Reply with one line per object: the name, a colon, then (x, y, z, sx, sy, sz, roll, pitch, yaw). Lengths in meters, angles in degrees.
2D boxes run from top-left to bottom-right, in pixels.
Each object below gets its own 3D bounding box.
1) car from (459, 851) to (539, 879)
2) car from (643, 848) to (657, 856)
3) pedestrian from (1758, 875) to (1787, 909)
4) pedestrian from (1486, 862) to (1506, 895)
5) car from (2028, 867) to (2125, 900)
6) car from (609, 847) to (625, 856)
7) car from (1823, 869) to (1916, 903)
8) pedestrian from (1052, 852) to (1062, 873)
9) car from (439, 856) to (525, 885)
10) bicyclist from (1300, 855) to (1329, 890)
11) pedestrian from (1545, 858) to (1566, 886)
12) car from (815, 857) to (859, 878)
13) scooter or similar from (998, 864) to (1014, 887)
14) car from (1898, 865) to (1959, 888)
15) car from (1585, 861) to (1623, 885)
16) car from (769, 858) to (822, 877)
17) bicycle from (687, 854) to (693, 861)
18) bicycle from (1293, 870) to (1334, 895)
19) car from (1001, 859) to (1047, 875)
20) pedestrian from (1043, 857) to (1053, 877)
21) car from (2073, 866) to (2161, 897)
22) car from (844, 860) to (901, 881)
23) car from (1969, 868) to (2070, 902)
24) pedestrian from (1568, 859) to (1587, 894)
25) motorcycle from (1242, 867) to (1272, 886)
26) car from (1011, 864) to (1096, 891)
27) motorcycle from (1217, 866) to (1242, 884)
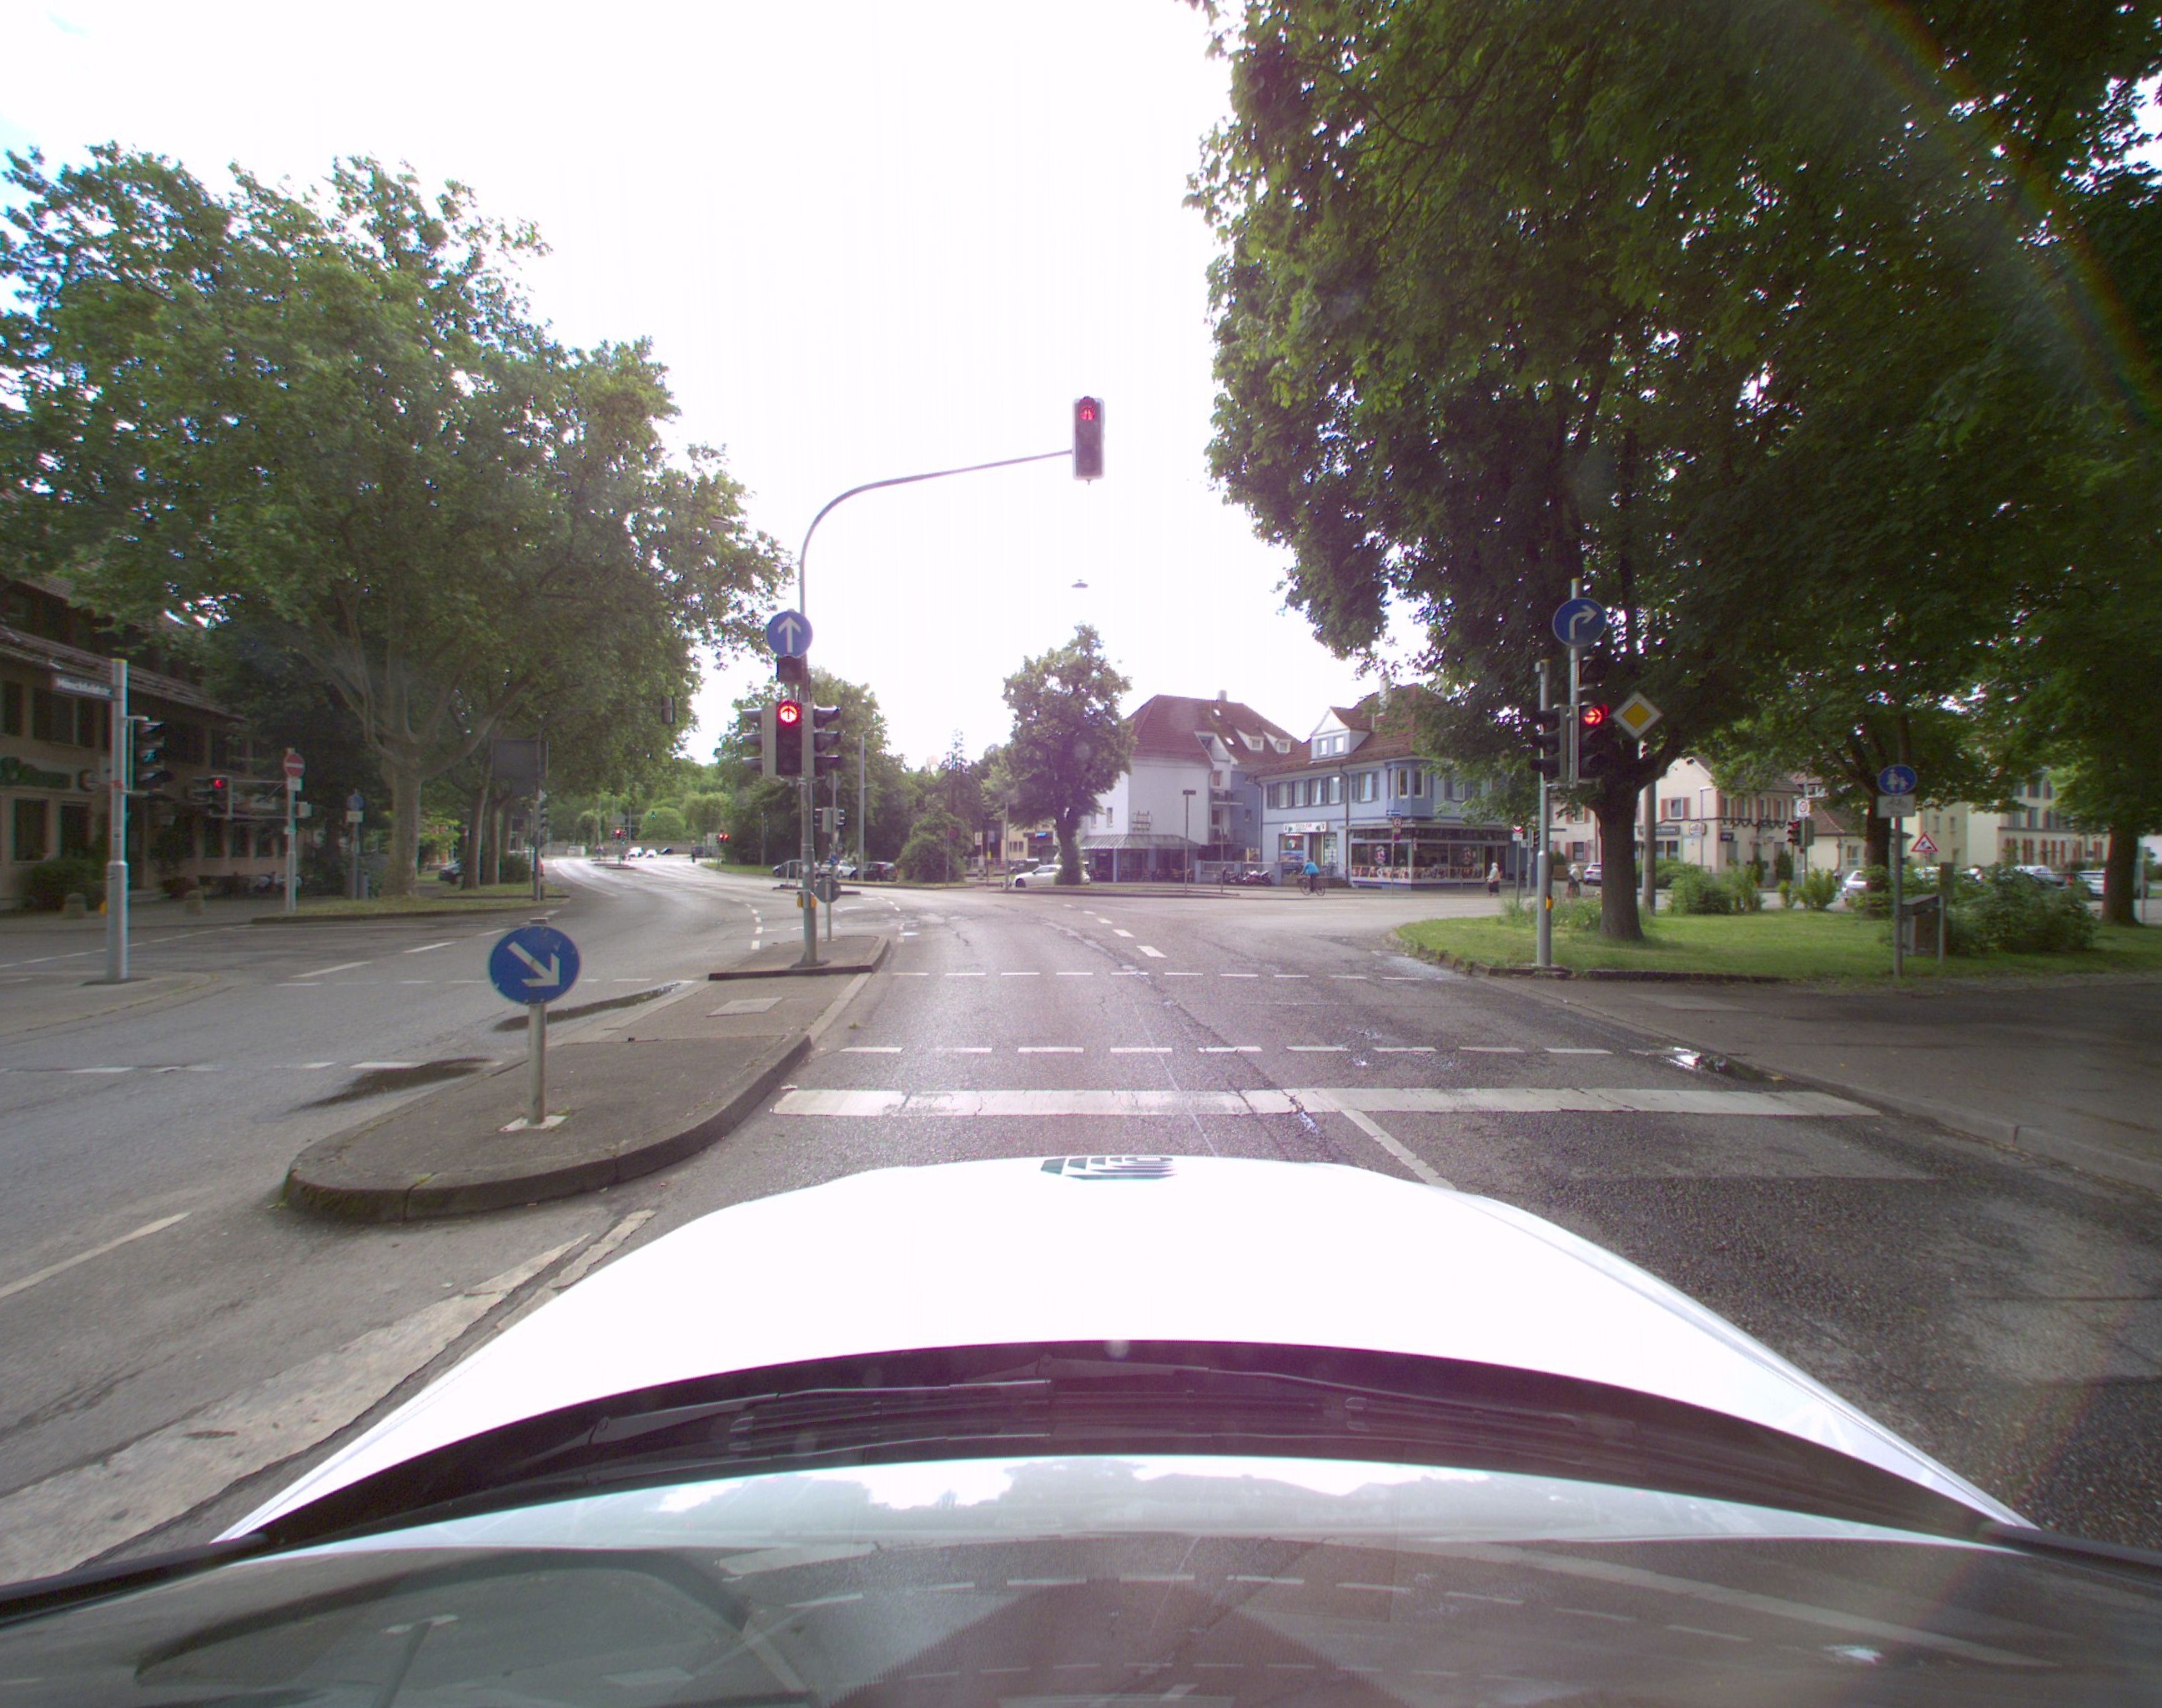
car: (-36.463, 0.678, 51.176, 4.015, 1.684, 1.979, 0, -1, -34)
car: (-83.180, -0.424, 157.252, 2.988, 1.417, 1.509, -1, -2, 43)
pedestrian: (22.856, 1.245, 26.912, 0.505, 1.081, 0.514, 0, -1, -13)
pedestrian: (19.542, 1.146, 38.365, 0.724, 1.560, 0.773, -1, -1, 33)
car: (47.080, 1.369, 38.531, 3.731, 1.457, 1.640, 0, 0, -17)
car: (-87.285, -0.484, 153.119, 3.293, 1.486, 1.594, -1, -2, 43)
car: (31.920, 1.267, 32.984, 3.007, 1.267, 1.455, 0, -1, -17)
pedestrian: (-1.745, 0.618, 59.490, 0.538, 1.560, 0.470, -1, -1, 15)
car: (-35.632, 0.954, 48.607, 4.015, 1.684, 1.979, 0, -1, -34)
bicyclist: (11.048, 0.873, 38.555, 0.918, 1.651, 0.982, 0, -1, -21)
pedestrian: (26.483, 0.983, 45.475, 0.671, 1.560, 0.743, 0, -1, -13)
car: (-20.140, 1.082, 67.410, 1.848, 1.640, 3.768, 0, 0, 13)
scooter or similar: (-3.953, 1.137, 42.851, 0.439, 1.175, 1.442, -1, -1, 11)
car: (55.467, 1.464, 53.305, 3.871, 1.447, 1.753, 0, -1, -28)
car: (32.456, 1.138, 50.632, 1.866, 1.391, 3.637, 0, 0, 31)
car: (-22.594, 1.023, 64.519, 3.742, 1.465, 1.629, 0, 0, 20)
bicycle: (-49.728, 0.448, 103.619, 0.558, 0.958, 2.018, 0, 0, -21)
bicycle: (11.024, 1.341, 38.644, 0.876, 1.149, 1.939, 0, 0, -21)
car: (-5.327, 1.230, 75.923, 3.948, 1.442, 1.742, 0, 0, -18)
pedestrian: (-3.257, 1.294, 81.190, 0.838, 2.014, 1.051, 0, -1, -12)
car: (52.595, 1.368, 41.269, 3.731, 1.457, 1.640, 0, 0, -17)
car: (-13.829, 1.052, 54.005, 3.285, 1.352, 1.791, 0, 0, 29)
car: (42.346, 1.378, 36.767, 3.731, 1.457, 1.640, 0, 0, -17)
pedestrian: (22.382, 0.990, 36.688, 0.687, 1.560, 0.671, -1, -1, 33)
motorcycle: (10.426, 1.316, 48.253, 1.609, 1.088, 0.631, -1, -1, 34)
car: (-1.596, 1.284, 45.939, 4.654, 1.410, 1.914, 0, -1, 37)
motorcycle: (9.133, 1.306, 50.055, 1.441, 1.088, 0.527, -1, -1, 37)
